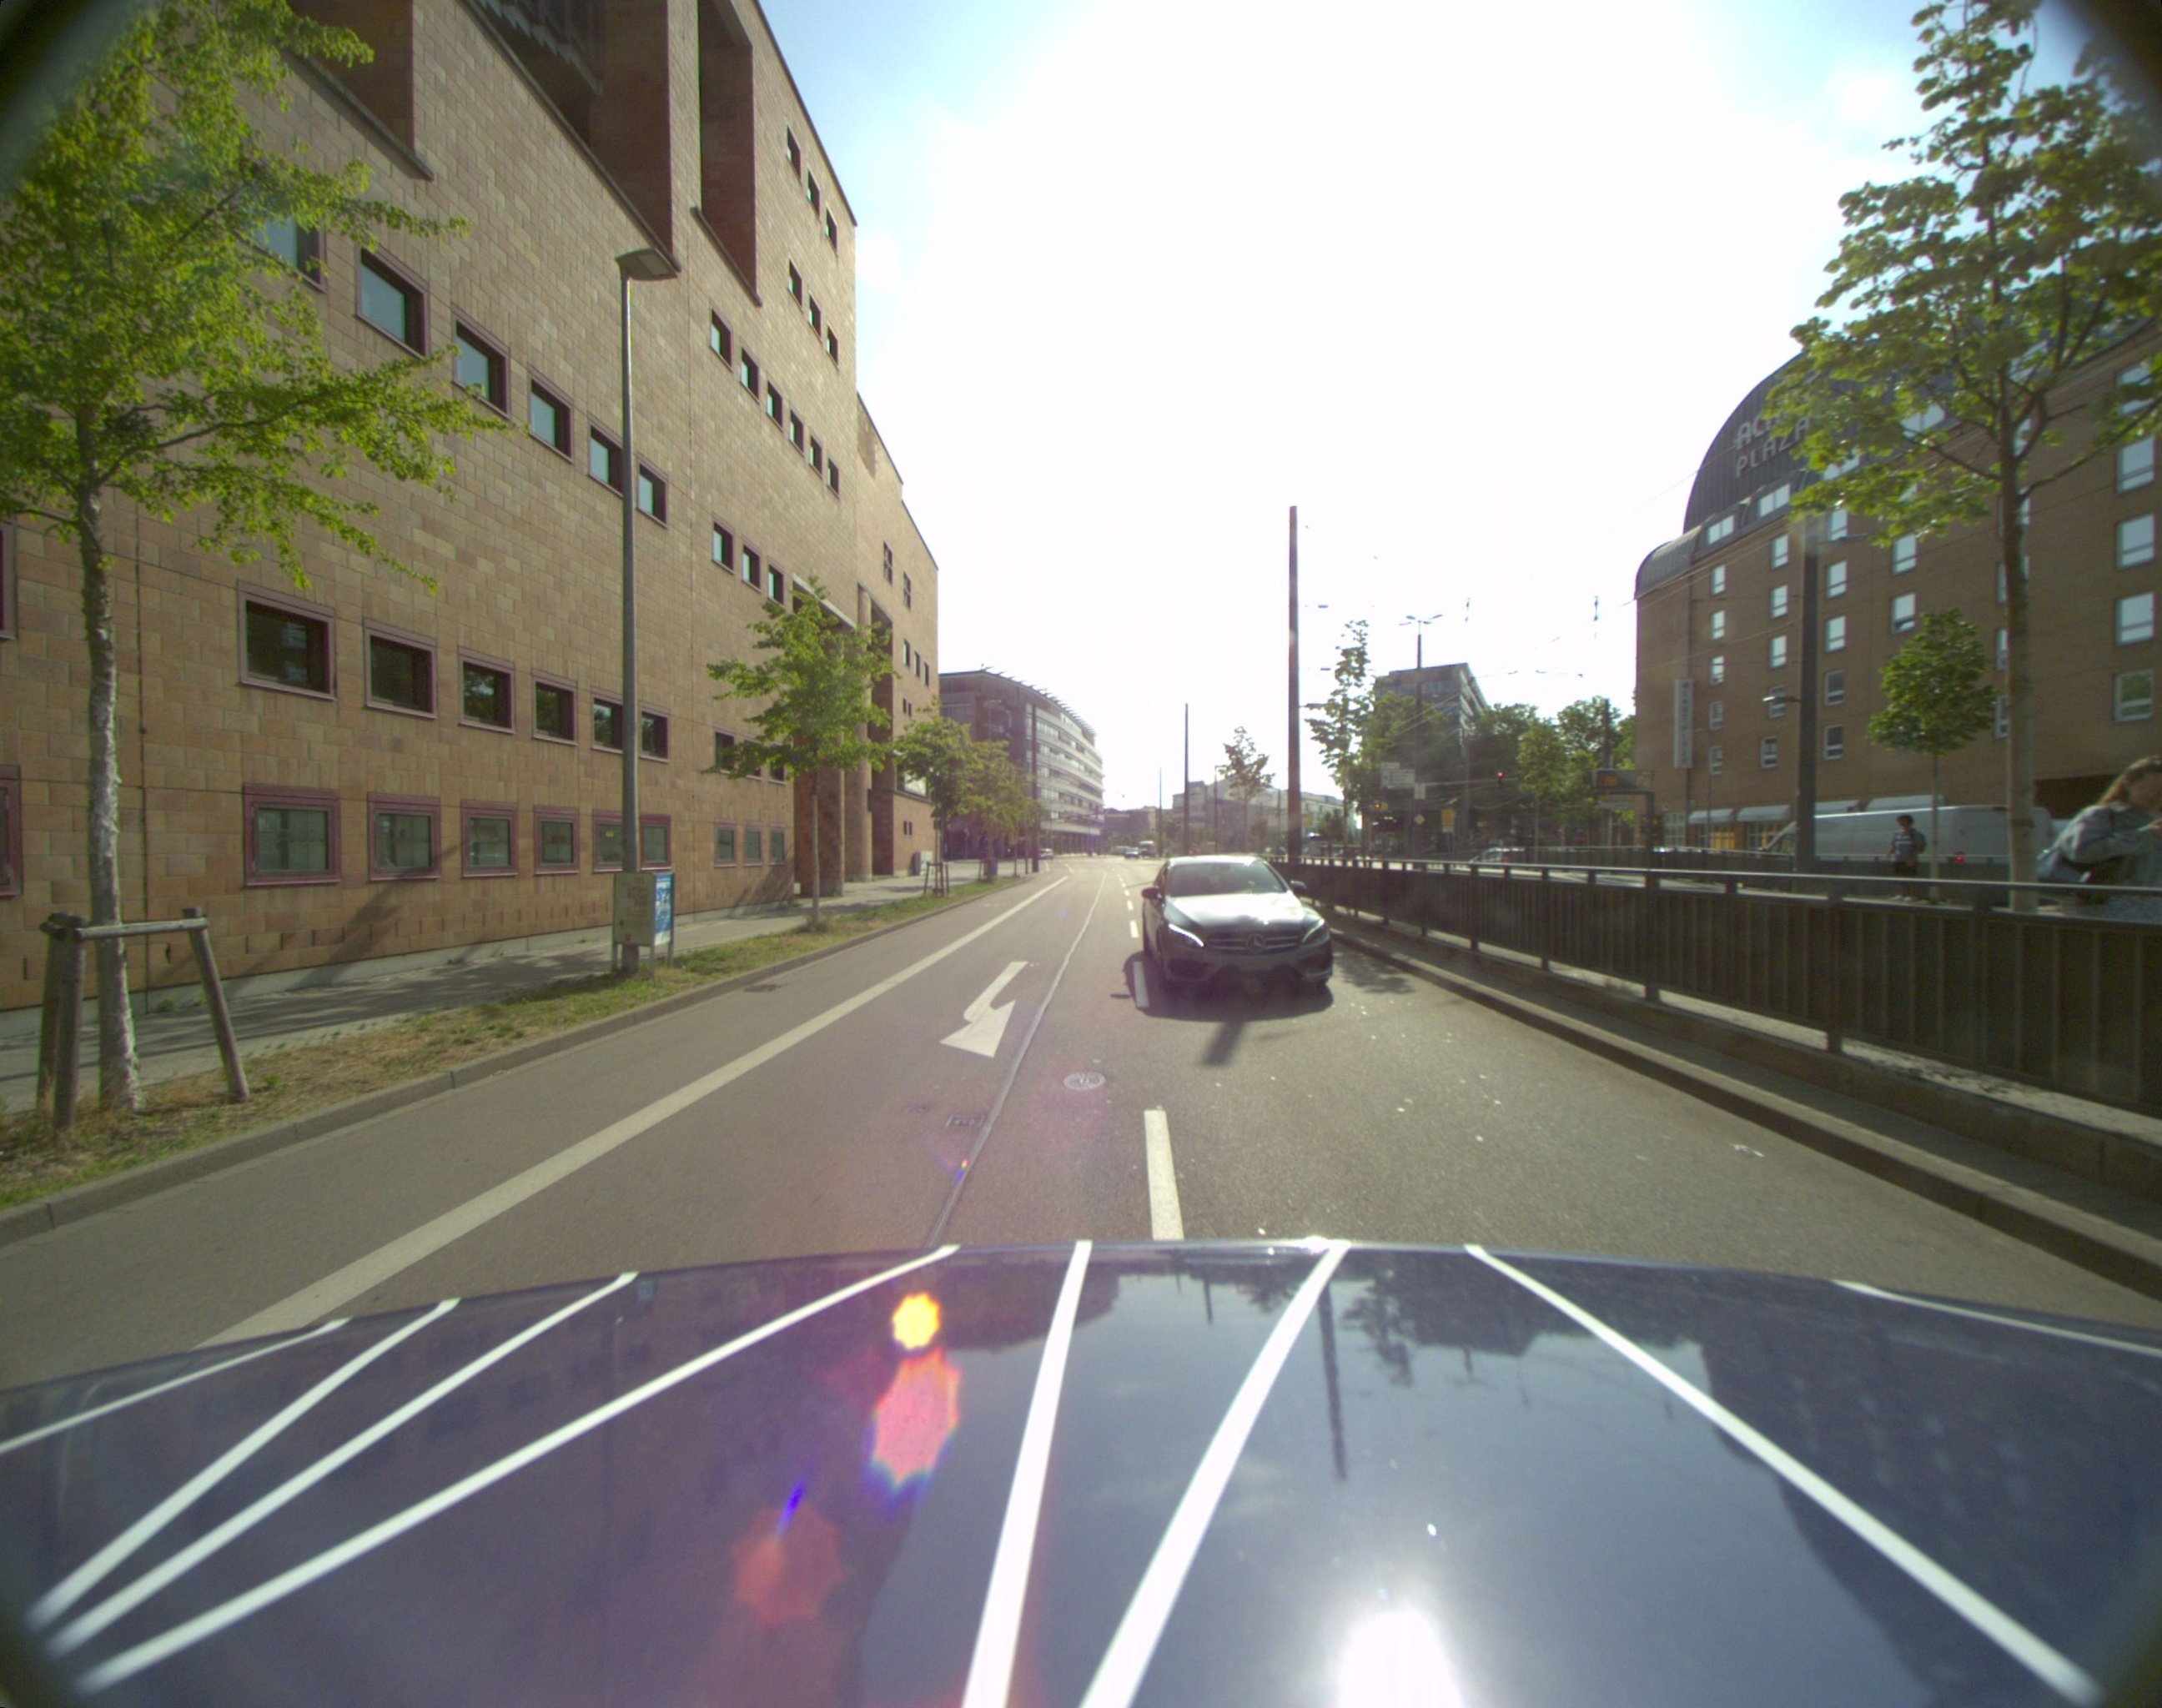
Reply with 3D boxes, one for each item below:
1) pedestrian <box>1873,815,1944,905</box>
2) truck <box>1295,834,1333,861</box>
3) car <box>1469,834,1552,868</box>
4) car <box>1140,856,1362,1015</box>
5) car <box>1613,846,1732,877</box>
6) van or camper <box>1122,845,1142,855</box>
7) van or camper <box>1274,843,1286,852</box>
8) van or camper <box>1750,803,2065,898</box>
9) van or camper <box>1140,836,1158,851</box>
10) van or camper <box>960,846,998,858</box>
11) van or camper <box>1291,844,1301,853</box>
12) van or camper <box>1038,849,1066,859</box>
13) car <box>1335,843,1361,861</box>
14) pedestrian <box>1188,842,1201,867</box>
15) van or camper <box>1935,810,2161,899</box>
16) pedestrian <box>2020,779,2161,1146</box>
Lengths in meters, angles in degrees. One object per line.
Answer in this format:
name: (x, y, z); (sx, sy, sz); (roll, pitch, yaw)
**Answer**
pedestrian: (16.740, 0.109, 15.379); (0.652, 1.750, 0.698); (-3, 2, 5)
truck: (34.437, -0.986, 112.891); (3.167, 3.755, 12.364); (0, 1, 7)
car: (21.214, -0.168, 37.703); (1.998, 1.609, 4.025); (0, 1, 3)
car: (1.787, 0.794, 9.366); (1.906, 1.385, 4.236); (-1, 1, 2)
car: (20.273, 0.213, 26.224); (1.548, 0.965, 3.488); (0, 1, 4)
van or camper: (6.966, -0.512, 103.085); (1.931, 1.305, 3.990); (0, 1, 16)
van or camper: (34.910, -1.112, 133.193); (1.843, 1.544, 4.003); (0, 1, 12)
van or camper: (19.797, -0.108, 18.722); (2.087, 2.002, 5.342); (0, 1, 3)
van or camper: (10.171, -1.542, 113.820); (1.931, 2.198, 3.991); (0, 1, 17)
van or camper: (-12.434, -0.292, 92.290); (4.218, 1.434, 1.996); (0, 1, -22)
van or camper: (43.153, -1.131, 152.306); (1.925, 1.691, 4.004); (0, 1, 16)
van or camper: (-3.796, -0.005, 100.167); (1.930, 1.305, 3.993); (1, 1, 27)
car: (31.422, -0.255, 89.437); (1.997, 2.002, 4.001); (0, 1, 6)
pedestrian: (7.383, 0.003, 49.353); (0.582, 1.624, 0.645); (-1, 2, -31)
van or camper: (33.493, -0.029, 26.310); (1.998, 2.786, 5.353); (0, 1, 4)
pedestrian: (5.459, 0.499, 3.774); (0.675, 1.748, 0.727); (-3, 2, 3)
